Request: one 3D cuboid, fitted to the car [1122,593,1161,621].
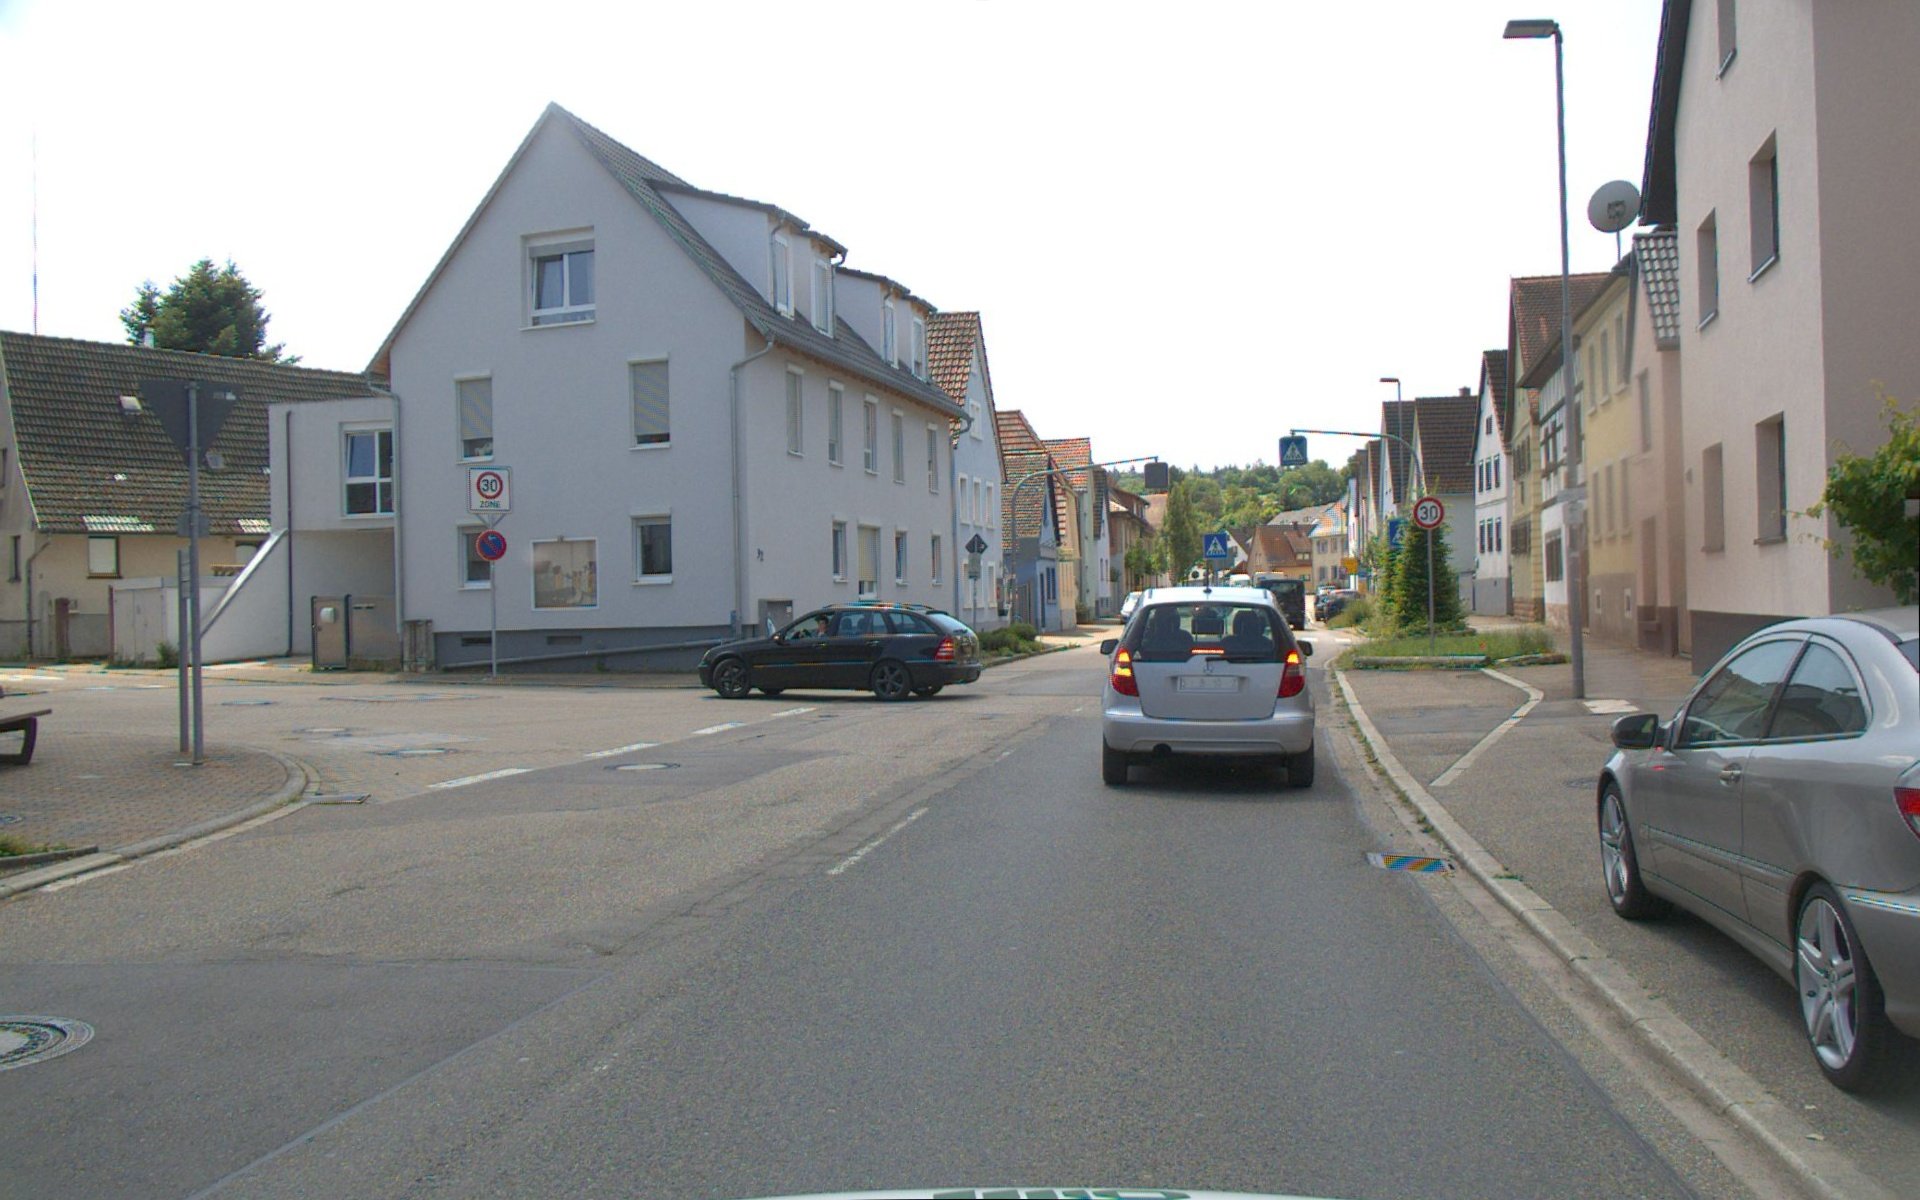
[{"bbox_3d":[9.220,0.376,84.286,1.951,1.344,3.711,-1,-2,5],"label":"car"}]

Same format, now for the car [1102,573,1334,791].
[{"bbox_3d":[2.281,0.638,14.742,1.772,1.672,3.732,1,0,9],"label":"car"}]

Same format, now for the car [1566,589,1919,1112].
[{"bbox_3d":[3.695,0.672,6.138,1.733,1.424,4.428,-4,-2,8],"label":"car"}]

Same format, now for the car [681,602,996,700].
[{"bbox_3d":[-1.865,0.798,25.632,4.524,1.436,1.815,-1,-2,18],"label":"car"}]

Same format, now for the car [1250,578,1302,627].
[{"bbox_3d":[12.510,0.123,65.656,1.951,1.848,4.003,-1,-2,10],"label":"car"}]

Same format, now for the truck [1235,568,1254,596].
[{"bbox_3d":[29.913,-1.872,173.805,1.951,2.581,6.744,-1,-2,10],"label":"truck"}]

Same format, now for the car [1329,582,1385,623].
[{"bbox_3d":[15.828,0.122,66.095,1.951,1.534,4.003,-1,-2,11],"label":"car"}]

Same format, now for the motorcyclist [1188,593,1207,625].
[{"bbox_3d":[11.654,0.443,81.137,0.877,1.582,0.808,-1,0,11],"label":"motorcyclist"}]

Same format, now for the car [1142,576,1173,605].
[{"bbox_3d":[12.283,-0.570,102.604,1.631,1.624,4.003,-1,-2,11],"label":"car"}]

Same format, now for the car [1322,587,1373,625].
[{"bbox_3d":[16.768,0.275,71.768,1.951,1.534,4.003,-1,-2,11],"label":"car"}]

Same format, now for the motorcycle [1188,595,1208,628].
[{"bbox_3d":[11.677,0.554,81.150,0.861,1.588,1.969,-1,0,11],"label":"motorcycle"}]

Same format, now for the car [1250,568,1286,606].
[{"bbox_3d":[17.913,-0.748,96.245,1.951,2.049,4.003,-1,-2,10],"label":"car"}]
